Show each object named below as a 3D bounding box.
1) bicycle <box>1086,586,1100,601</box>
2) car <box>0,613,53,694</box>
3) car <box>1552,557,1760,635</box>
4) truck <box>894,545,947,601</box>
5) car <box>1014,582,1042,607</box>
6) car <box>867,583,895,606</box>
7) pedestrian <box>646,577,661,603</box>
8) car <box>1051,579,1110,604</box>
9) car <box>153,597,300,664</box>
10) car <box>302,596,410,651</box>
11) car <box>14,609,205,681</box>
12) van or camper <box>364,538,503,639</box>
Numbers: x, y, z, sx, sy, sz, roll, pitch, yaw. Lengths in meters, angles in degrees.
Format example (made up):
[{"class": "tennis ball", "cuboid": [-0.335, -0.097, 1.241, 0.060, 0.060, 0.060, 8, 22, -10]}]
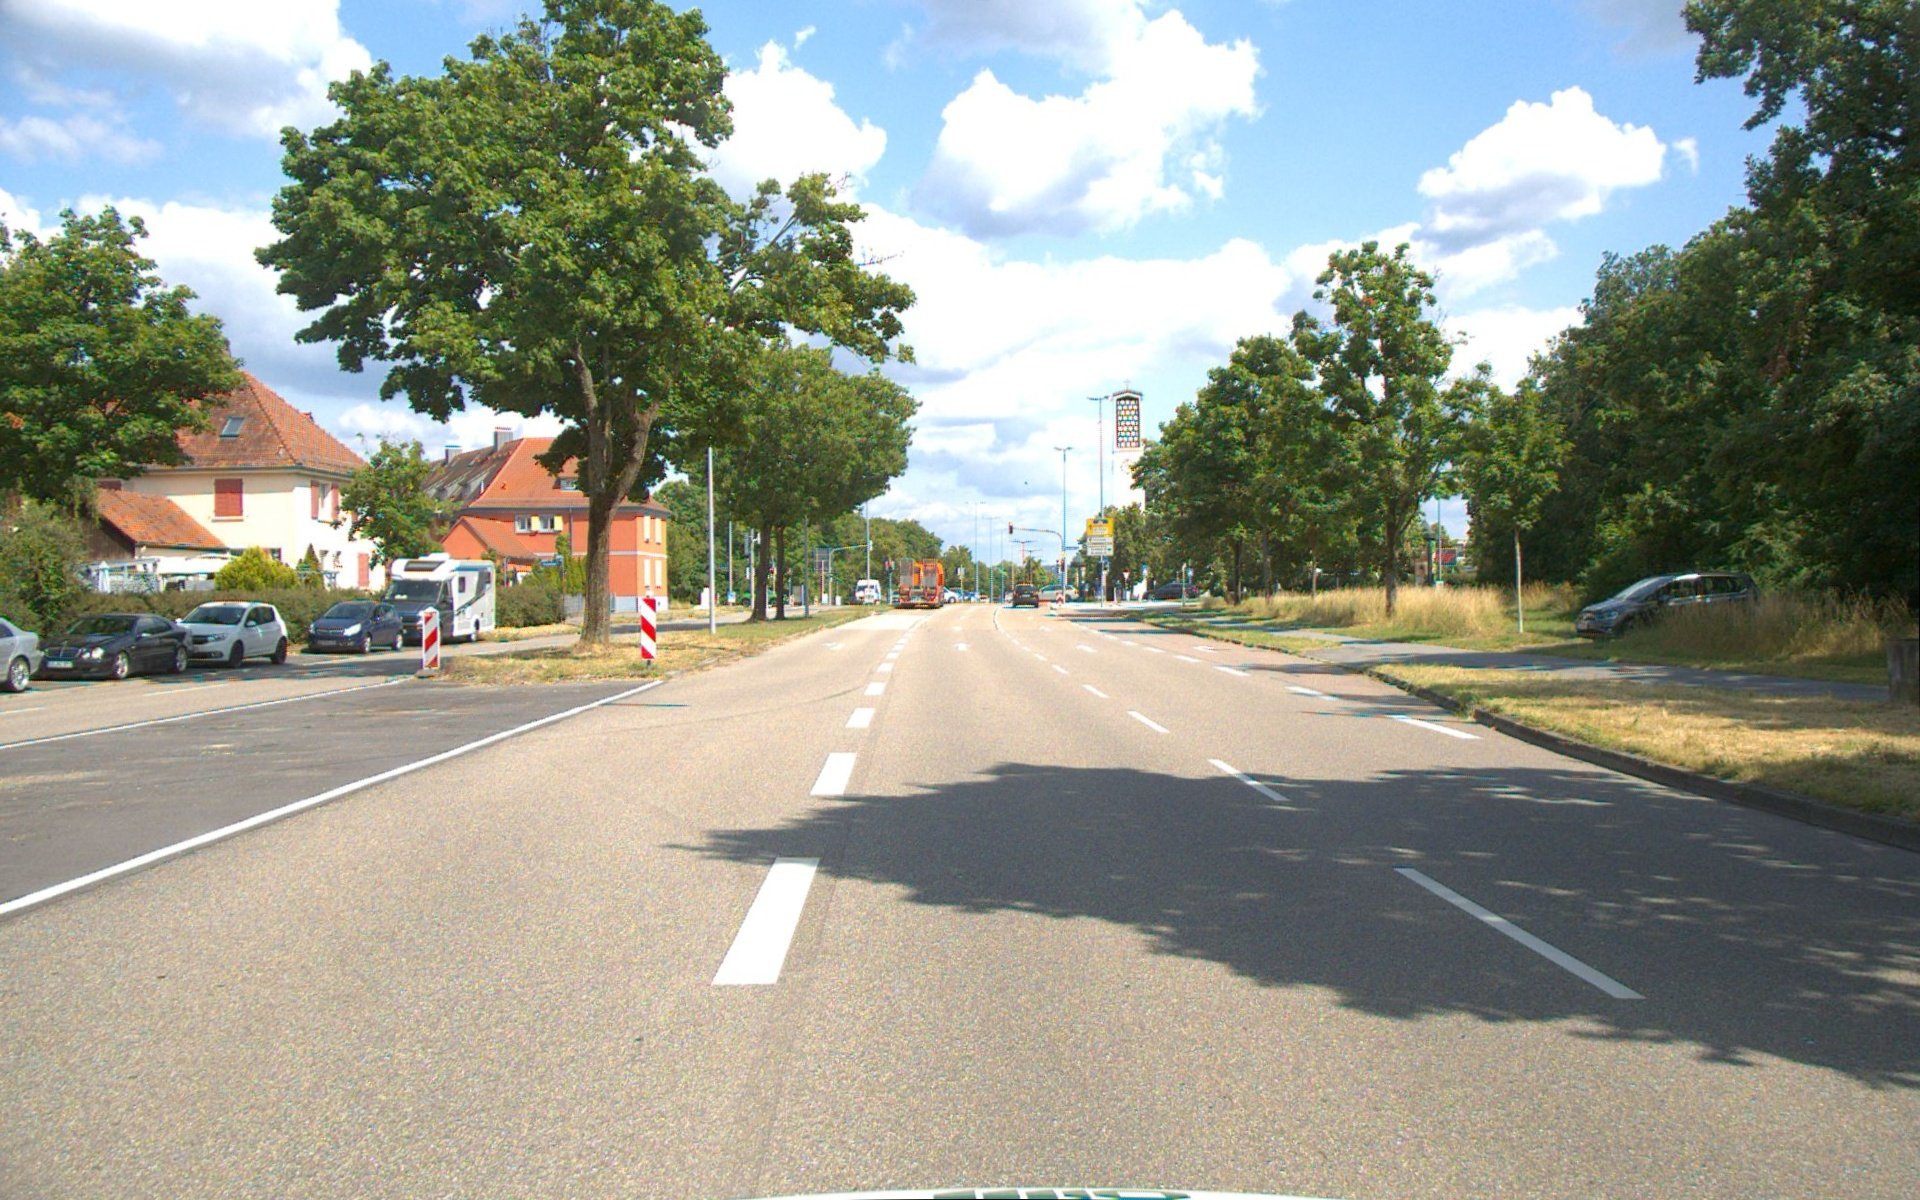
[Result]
[{"class": "bicycle", "cuboid": [9.952, -0.473, 123.937, 0.634, 1.127, 1.929, 1, 0, 17]}, {"class": "car", "cuboid": [-17.757, 0.962, 28.678, 1.479, 1.394, 4.532, 1, 1, 1]}, {"class": "car", "cuboid": [16.196, -0.120, 38.573, 4.084, 1.519, 1.782, -4, 2, -7]}, {"class": "truck", "cuboid": [-2.561, -1.721, 111.302, 3.007, 3.474, 11.069, 1, 0, 1]}, {"class": "car", "cuboid": [4.588, -0.364, 111.745, 1.762, 1.579, 4.000, 1, 0, 1]}, {"class": "car", "cuboid": [-5.903, -0.404, 123.392, 1.697, 1.534, 4.653, -4, 0, 1]}, {"class": "pedestrian", "cuboid": [-18.789, -0.610, 101.353, 0.681, 1.611, 0.851, 1, -1, 1]}, {"class": "car", "cuboid": [7.794, -0.546, 107.133, 3.516, 1.467, 1.469, 2, -1, -17]}, {"class": "car", "cuboid": [-17.940, 0.723, 40.660, 1.654, 1.511, 4.124, 1, 0, 1]}, {"class": "car", "cuboid": [-17.795, 0.670, 48.897, 1.602, 1.511, 3.993, 1, 0, 1]}, {"class": "car", "cuboid": [-17.988, 0.911, 35.220, 1.602, 1.329, 4.585, 1, 1, 1]}, {"class": "van or camper", "cuboid": [-17.755, -0.411, 56.219, 2.212, 3.166, 7.321, 1, 1, 1]}]
